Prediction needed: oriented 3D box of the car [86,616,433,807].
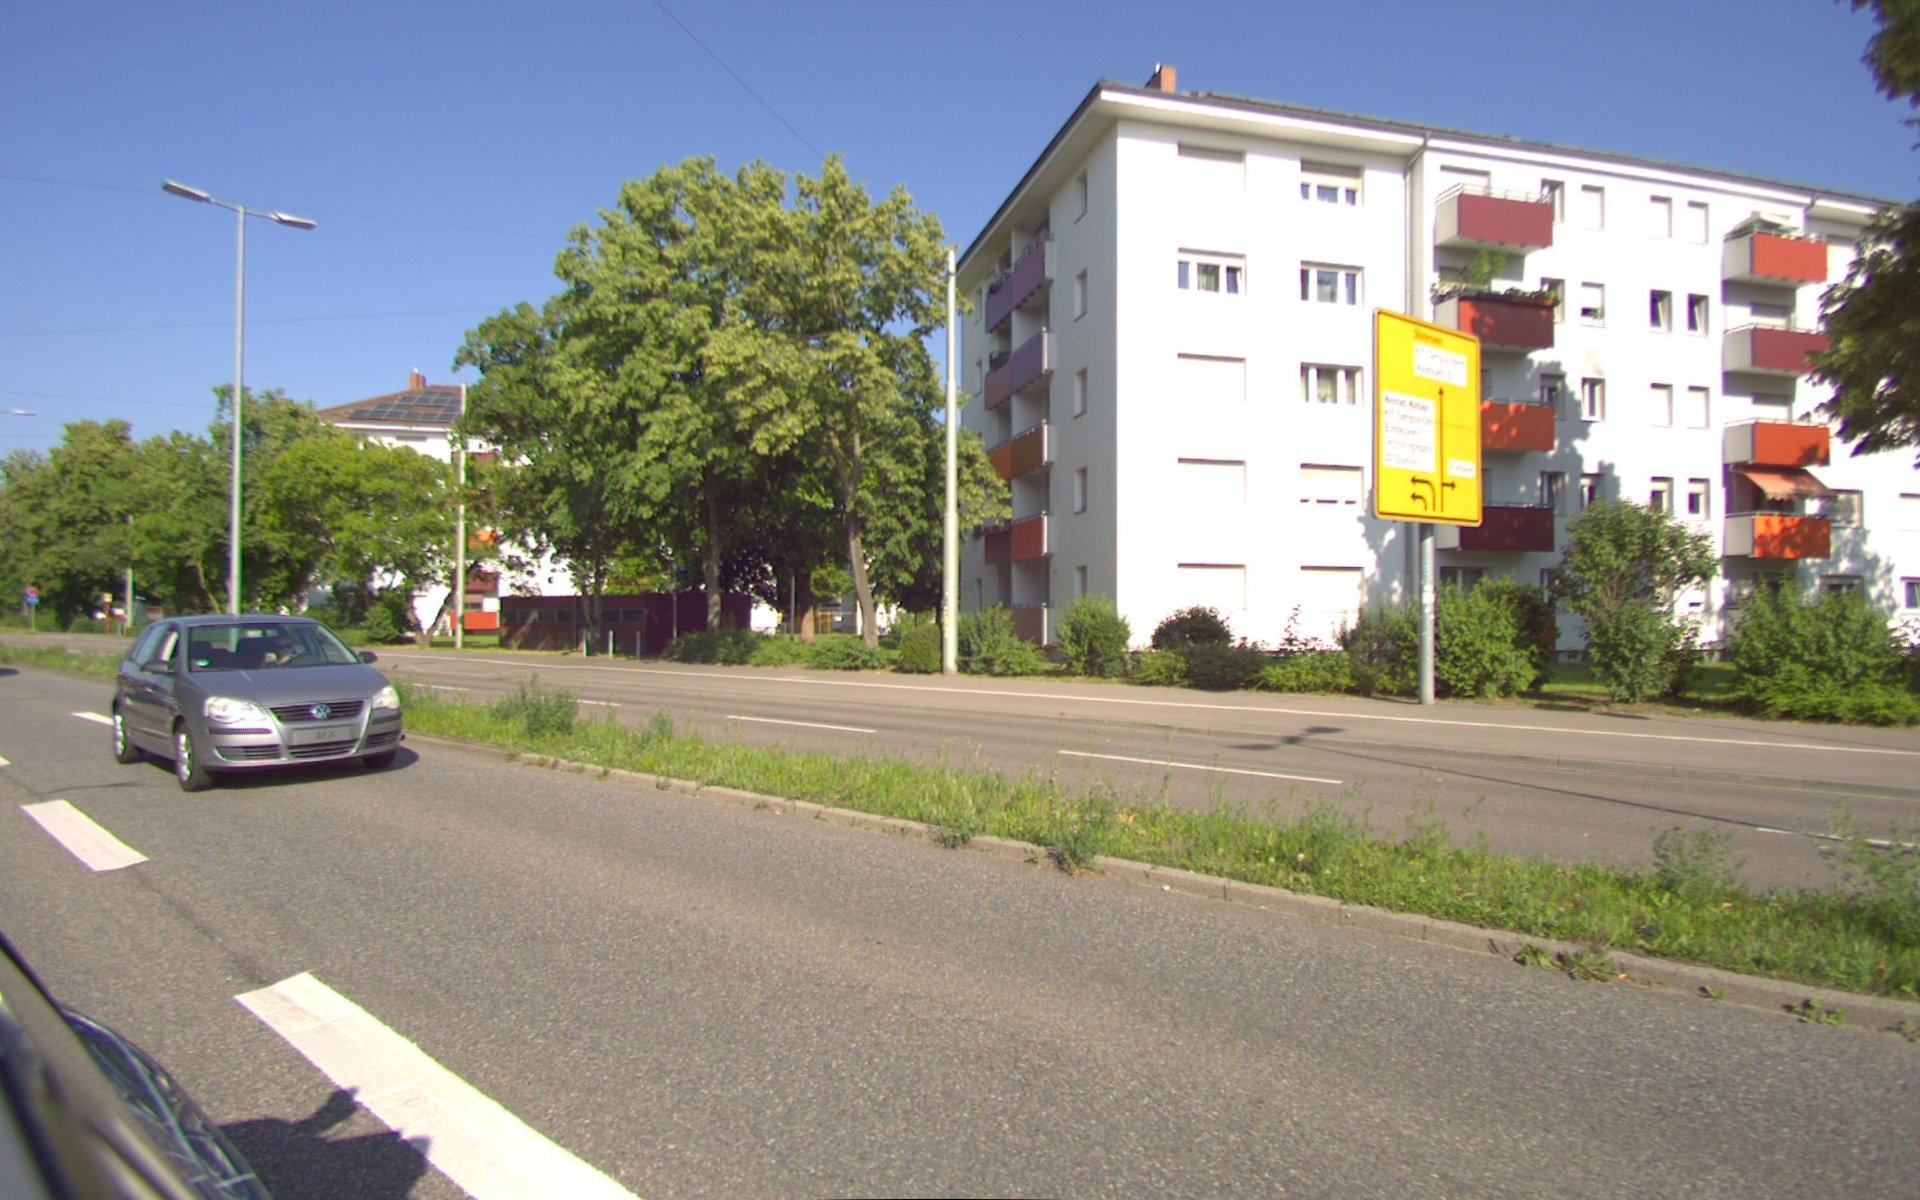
[{"bbox_3d":[-6.761,0.892,9.634,3.828,1.439,1.672,-1,0,38],"label":"car"}]
